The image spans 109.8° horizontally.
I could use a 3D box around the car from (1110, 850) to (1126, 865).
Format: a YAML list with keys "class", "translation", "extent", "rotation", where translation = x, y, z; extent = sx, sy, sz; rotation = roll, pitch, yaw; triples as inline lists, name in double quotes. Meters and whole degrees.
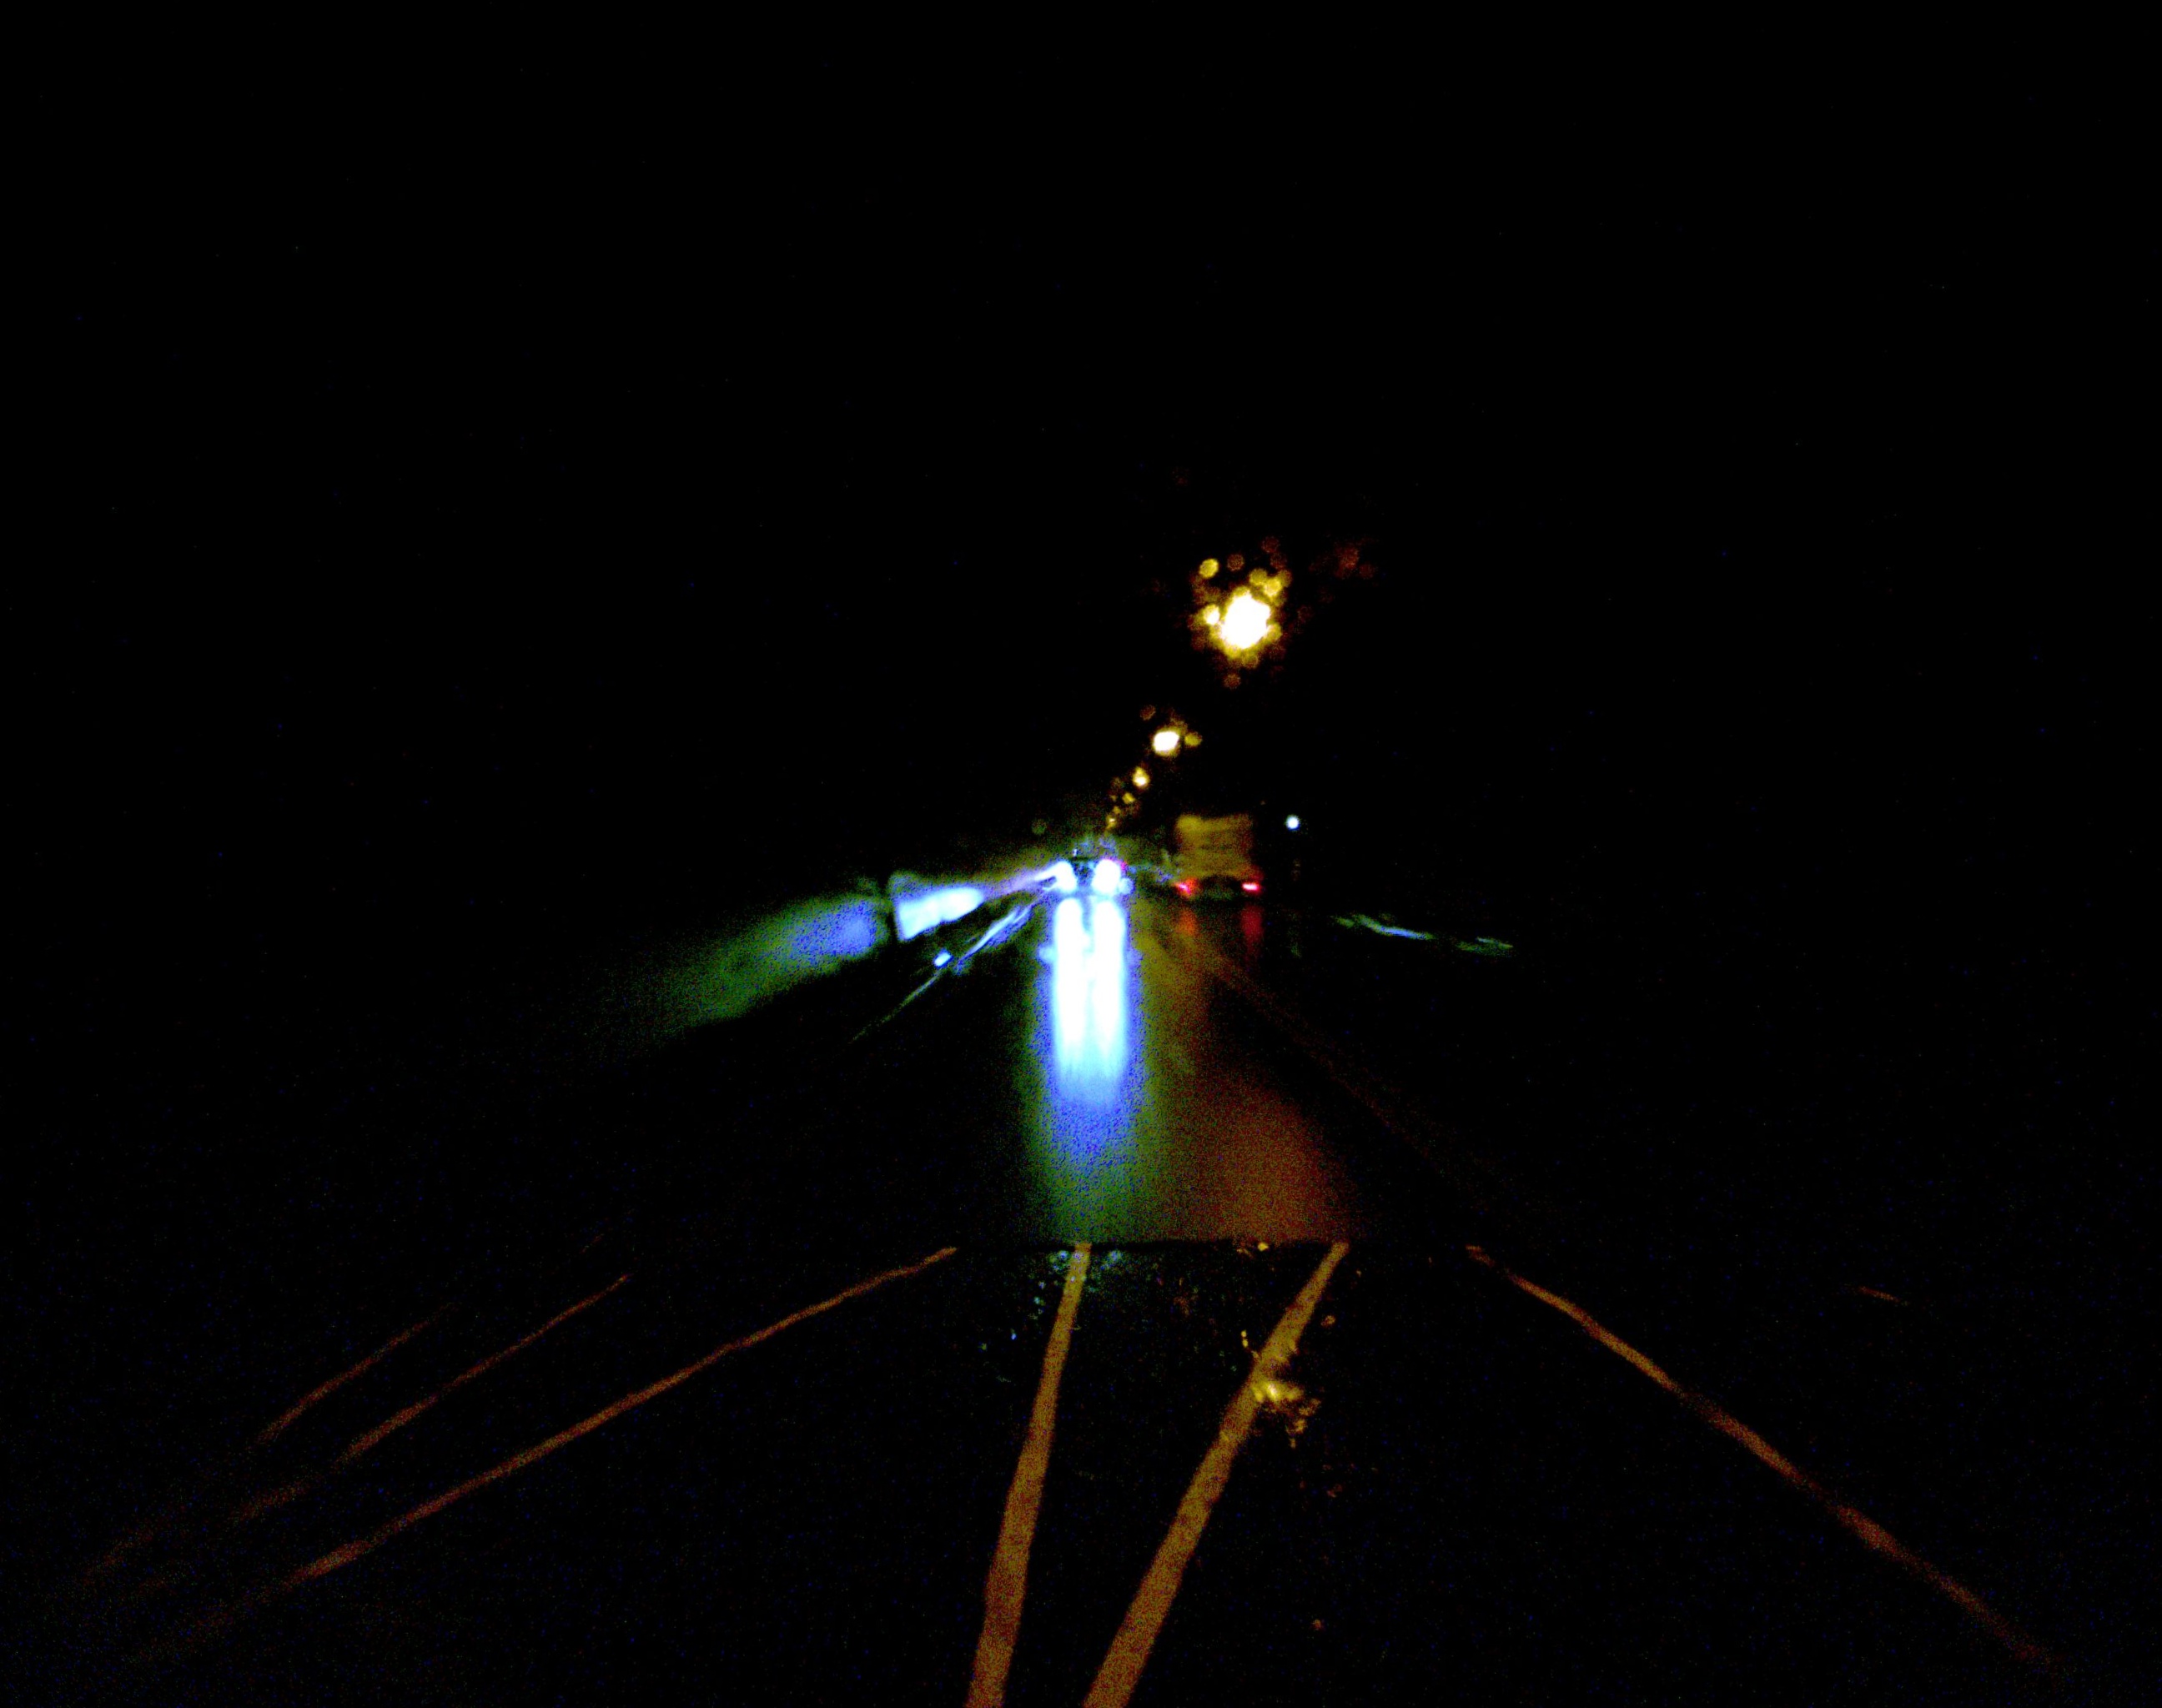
- class: "car"
  translation: [4.609, 0.434, 95.321]
  extent: [1.733, 1.781, 3.932]
  rotation: [-2, 0, 1]

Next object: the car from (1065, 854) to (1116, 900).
- class: "car"
  translation: [0.387, 0.852, 29.968]
  extent: [1.829, 1.650, 3.929]
  rotation: [-1, 0, 1]

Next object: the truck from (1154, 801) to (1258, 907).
- class: "truck"
  translation: [3.969, 0.006, 25.491]
  extent: [2.285, 2.999, 6.593]
  rotation: [-2, 0, 0]

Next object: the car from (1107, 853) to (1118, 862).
- class: "car"
  translation: [5.480, 0.682, 132.377]
  extent: [1.764, 1.472, 3.887]
  rotation: [-2, 0, 2]

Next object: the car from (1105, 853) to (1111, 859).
- class: "car"
  translation: [7.250, 0.612, 201.875]
  extent: [1.573, 1.622, 3.729]
  rotation: [-1, 0, 1]
